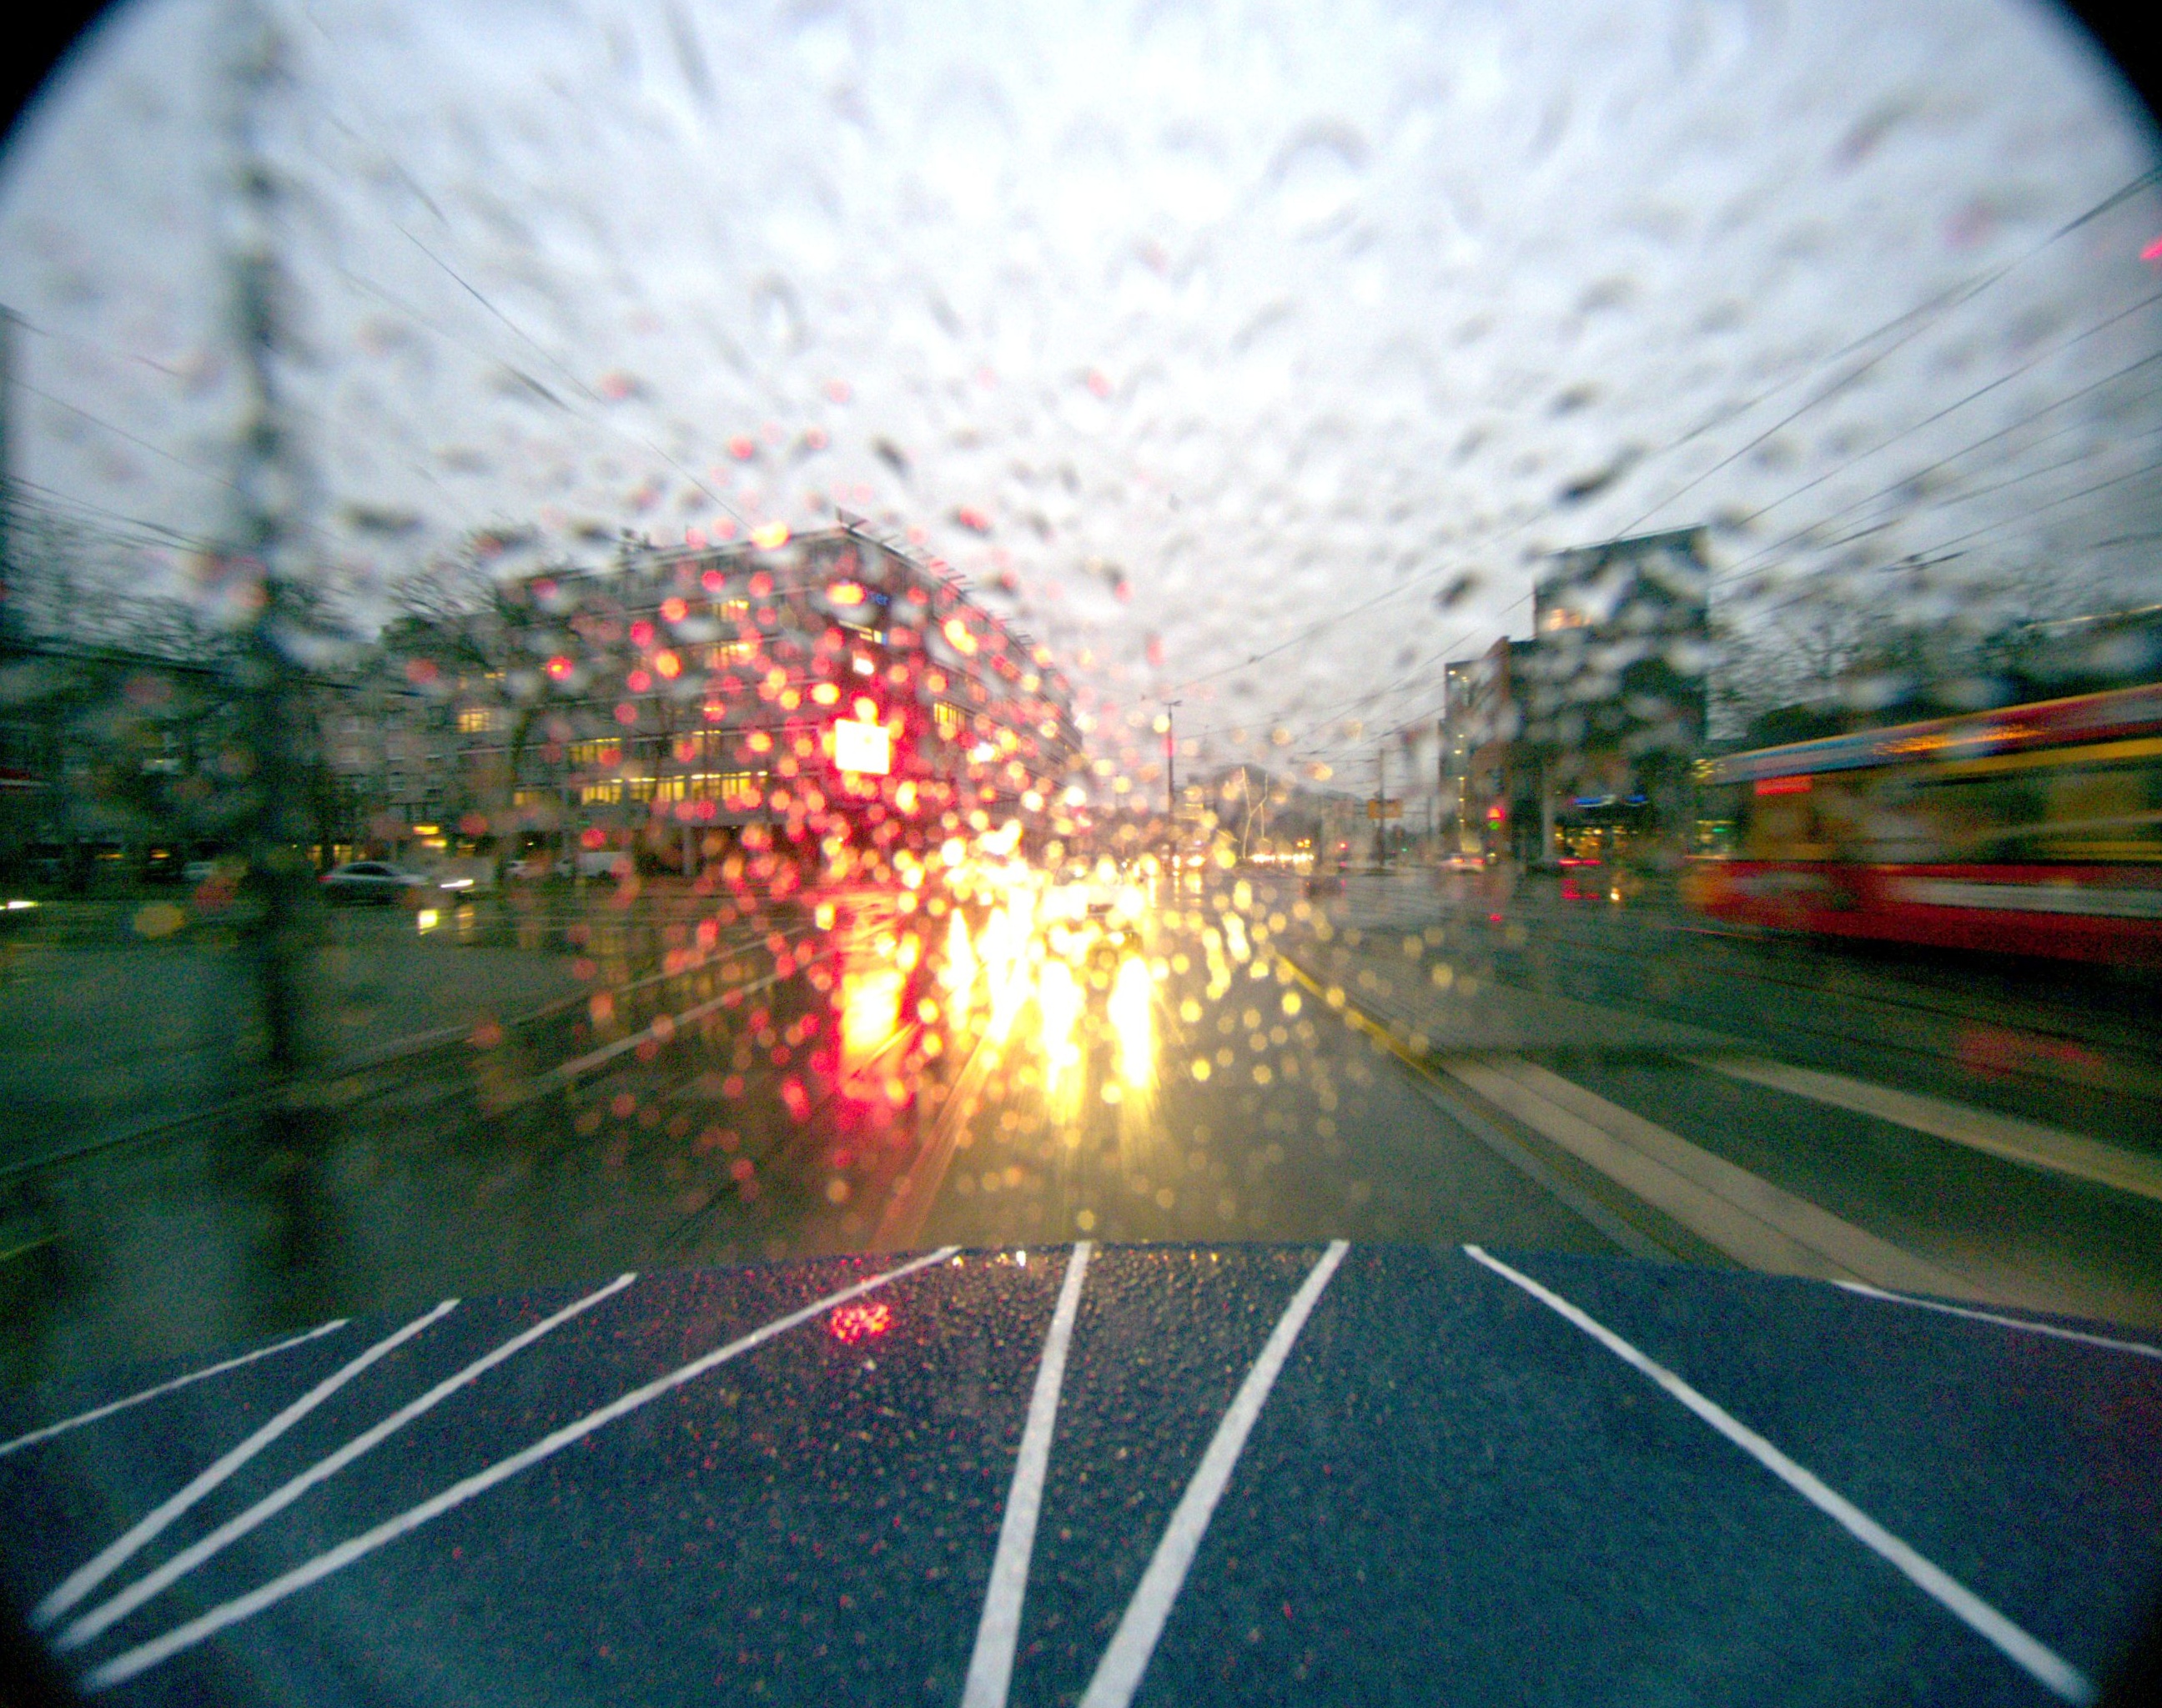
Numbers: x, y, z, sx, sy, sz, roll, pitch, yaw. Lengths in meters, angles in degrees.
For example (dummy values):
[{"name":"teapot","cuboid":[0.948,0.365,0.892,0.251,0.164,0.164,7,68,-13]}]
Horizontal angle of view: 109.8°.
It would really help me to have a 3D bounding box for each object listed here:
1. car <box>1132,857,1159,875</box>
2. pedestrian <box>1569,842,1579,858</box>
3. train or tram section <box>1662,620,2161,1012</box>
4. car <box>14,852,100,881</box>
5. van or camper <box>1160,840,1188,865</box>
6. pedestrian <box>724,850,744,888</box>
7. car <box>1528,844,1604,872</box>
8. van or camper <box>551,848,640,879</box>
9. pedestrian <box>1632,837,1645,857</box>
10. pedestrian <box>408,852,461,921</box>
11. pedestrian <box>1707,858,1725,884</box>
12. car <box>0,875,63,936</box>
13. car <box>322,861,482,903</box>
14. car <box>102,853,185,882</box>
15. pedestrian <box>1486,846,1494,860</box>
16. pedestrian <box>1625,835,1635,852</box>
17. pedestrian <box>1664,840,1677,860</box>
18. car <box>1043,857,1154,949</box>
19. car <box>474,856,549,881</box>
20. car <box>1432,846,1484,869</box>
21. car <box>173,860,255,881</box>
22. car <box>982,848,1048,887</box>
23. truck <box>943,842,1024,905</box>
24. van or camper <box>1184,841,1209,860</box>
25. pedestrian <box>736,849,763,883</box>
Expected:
[{"name":"car","cuboid":[5.690,1.031,66.451,1.682,1.563,3.765,-1,0,15]},{"name":"pedestrian","cuboid":[45.660,-0.336,70.392,0.651,1.494,0.695,0,1,22]},{"name":"train or tram section","cuboid":[11.339,-0.391,7.123,2.957,3.568,12.257,-2,0,4]},{"name":"car","cuboid":[-71.718,0.849,53.231,3.994,1.939,1.843,0,1,8]},{"name":"van or camper","cuboid":[9.946,-0.160,81.142,2.059,2.533,5.891,-2,0,15]},{"name":"pedestrian","cuboid":[-16.571,0.702,36.291,0.801,1.800,0.649,-1,1,-30]},{"name":"car","cuboid":[27.491,0.209,43.226,1.757,1.496,4.235,-1,0,2]},{"name":"van or camper","cuboid":[-32.048,0.627,50.246,4.742,1.918,1.842,-1,1,4]},{"name":"pedestrian","cuboid":[46.238,-0.588,63.015,0.740,1.646,0.695,0,1,22]},{"name":"pedestrian","cuboid":[-17.019,0.850,20.026,0.735,1.776,0.735,-1,1,0]},{"name":"pedestrian","cuboid":[48.901,1.290,58.506,0.707,2.002,0.758,-1,1,-11]},{"name":"car","cuboid":[-26.091,1.149,17.199,3.989,1.302,1.815,1,1,5]},{"name":"car","cuboid":[-23.009,0.943,25.823,3.989,1.333,1.815,0,1,6]},{"name":"car","cuboid":[-65.444,0.933,53.068,3.994,1.939,1.843,0,1,8]},{"name":"pedestrian","cuboid":[35.653,-0.080,66.229,0.445,1.257,0.496,-2,1,9]},{"name":"pedestrian","cuboid":[54.354,-1.043,75.244,0.691,1.698,0.928,0,1,41]},{"name":"pedestrian","cuboid":[50.182,-0.353,64.642,0.726,1.698,0.695,0,1,22]},{"name":"car","cuboid":[0.376,0.815,14.645,1.773,1.449,4.222,-2,0,3]},{"name":"car","cuboid":[-37.949,0.956,50.663,3.839,1.519,1.643,-1,1,4]},{"name":"car","cuboid":[25.444,0.235,51.391,1.672,1.486,4.202,-1,0,4]},{"name":"car","cuboid":[-59.951,1.116,52.566,3.994,1.425,1.843,0,1,8]},{"name":"car","cuboid":[-3.266,0.640,38.630,1.907,1.808,4.693,-2,0,13]},{"name":"truck","cuboid":[-3.229,0.608,26.131,1.909,1.906,4.618,-2,0,3]},{"name":"van or camper","cuboid":[15.193,-0.418,99.740,2.183,2.338,5.657,-2,0,18]},{"name":"pedestrian","cuboid":[-17.832,0.641,40.905,1.152,1.776,0.777,-1,1,-7]}]
